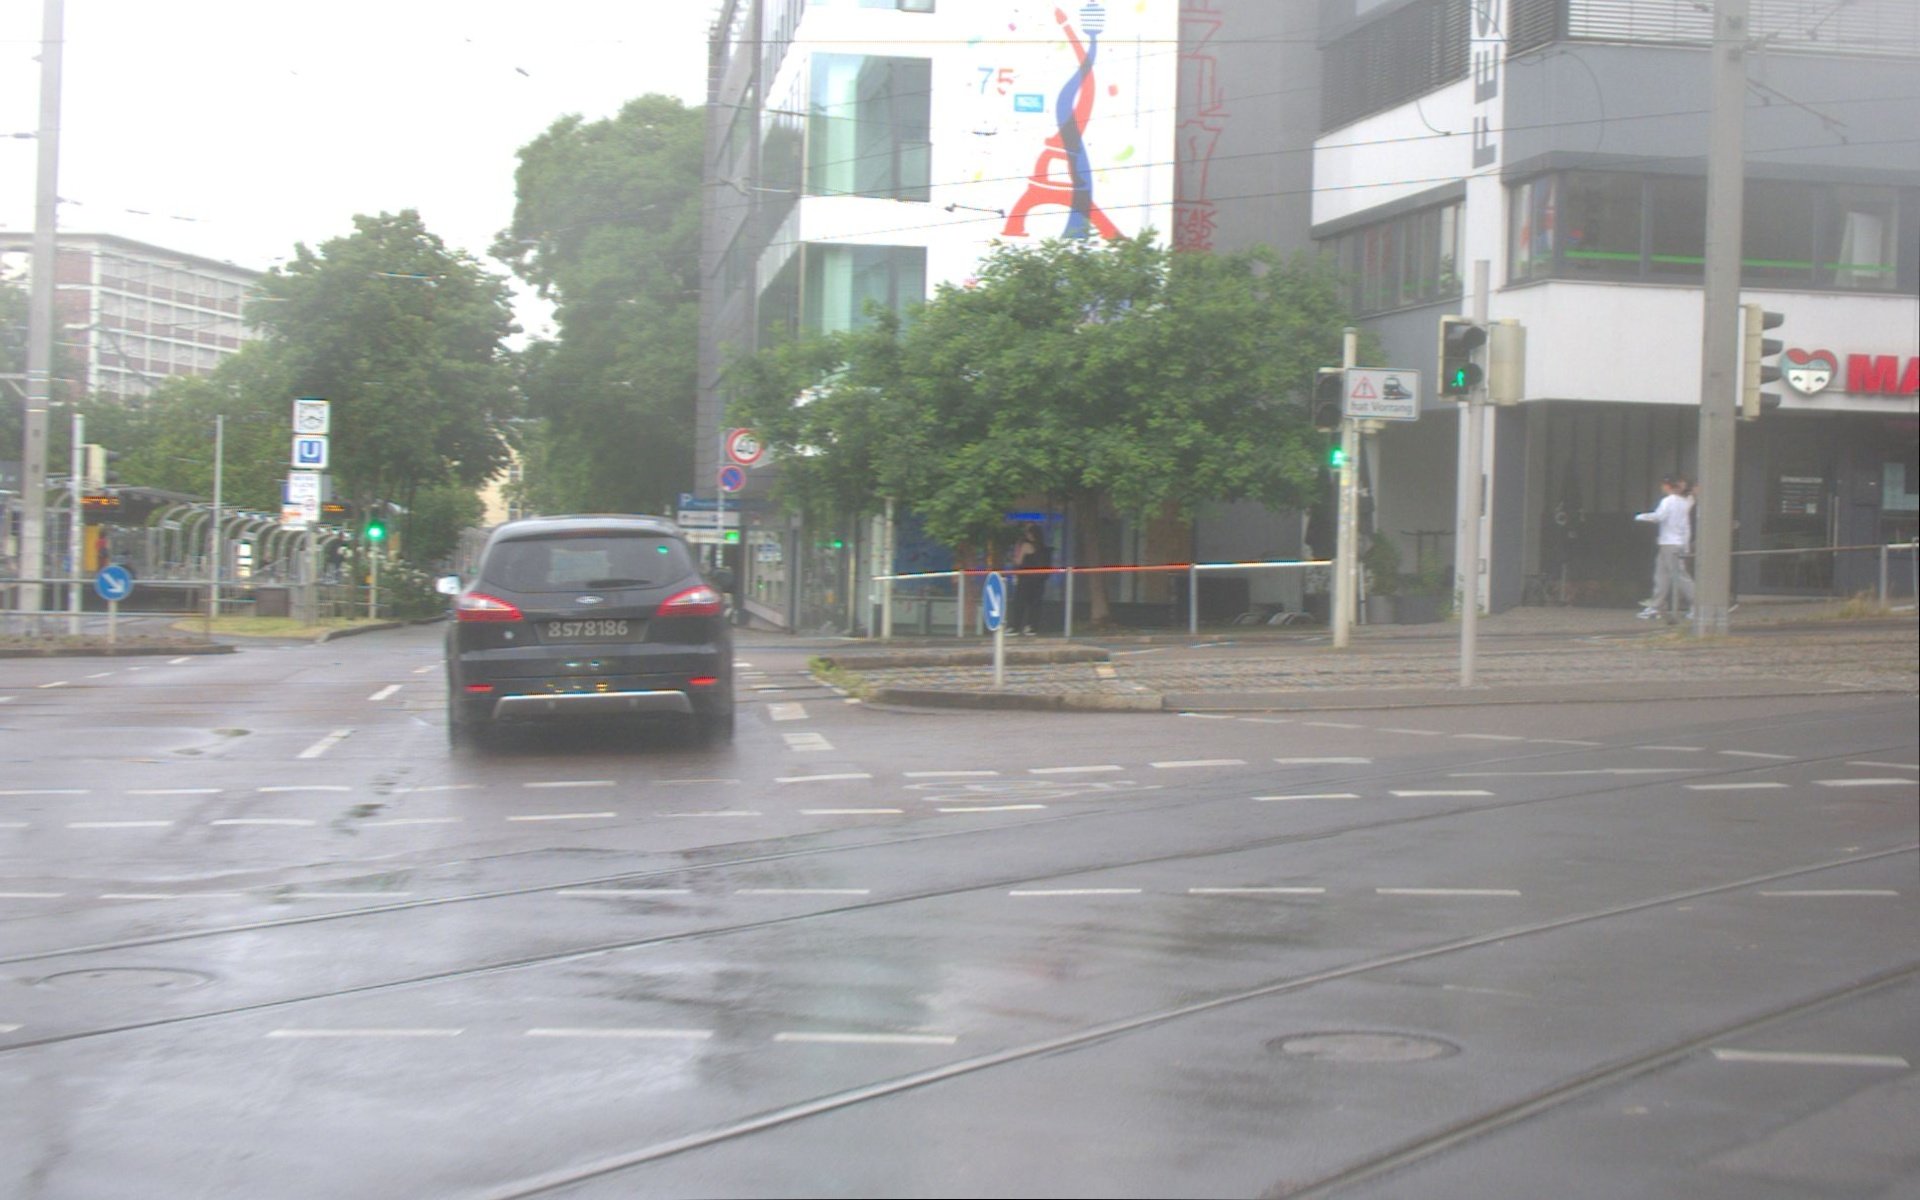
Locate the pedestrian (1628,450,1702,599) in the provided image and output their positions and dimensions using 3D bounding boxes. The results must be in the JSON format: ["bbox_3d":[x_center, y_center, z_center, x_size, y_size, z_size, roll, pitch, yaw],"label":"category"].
[{"bbox_3d":[9.091,-0.977,44.322,0.718,1.907,0.697,1,2,33],"label":"pedestrian"}]

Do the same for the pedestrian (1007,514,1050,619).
[{"bbox_3d":[1.027,-0.511,51.440,0.542,1.558,0.521,0,1,15],"label":"pedestrian"}]

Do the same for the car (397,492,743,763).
[{"bbox_3d":[-2.555,0.099,22.878,2.035,1.579,4.393,1,2,-6],"label":"car"}]

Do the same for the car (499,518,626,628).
[{"bbox_3d":[-7.192,-0.521,62.531,2.035,1.833,4.393,1,2,-4],"label":"car"}]

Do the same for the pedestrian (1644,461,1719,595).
[{"bbox_3d":[9.592,-0.959,45.699,0.718,1.755,0.696,1,2,40],"label":"pedestrian"}]

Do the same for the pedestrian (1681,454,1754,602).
[{"bbox_3d":[9.870,-0.939,44.809,0.718,1.907,0.697,1,2,33],"label":"pedestrian"}]
